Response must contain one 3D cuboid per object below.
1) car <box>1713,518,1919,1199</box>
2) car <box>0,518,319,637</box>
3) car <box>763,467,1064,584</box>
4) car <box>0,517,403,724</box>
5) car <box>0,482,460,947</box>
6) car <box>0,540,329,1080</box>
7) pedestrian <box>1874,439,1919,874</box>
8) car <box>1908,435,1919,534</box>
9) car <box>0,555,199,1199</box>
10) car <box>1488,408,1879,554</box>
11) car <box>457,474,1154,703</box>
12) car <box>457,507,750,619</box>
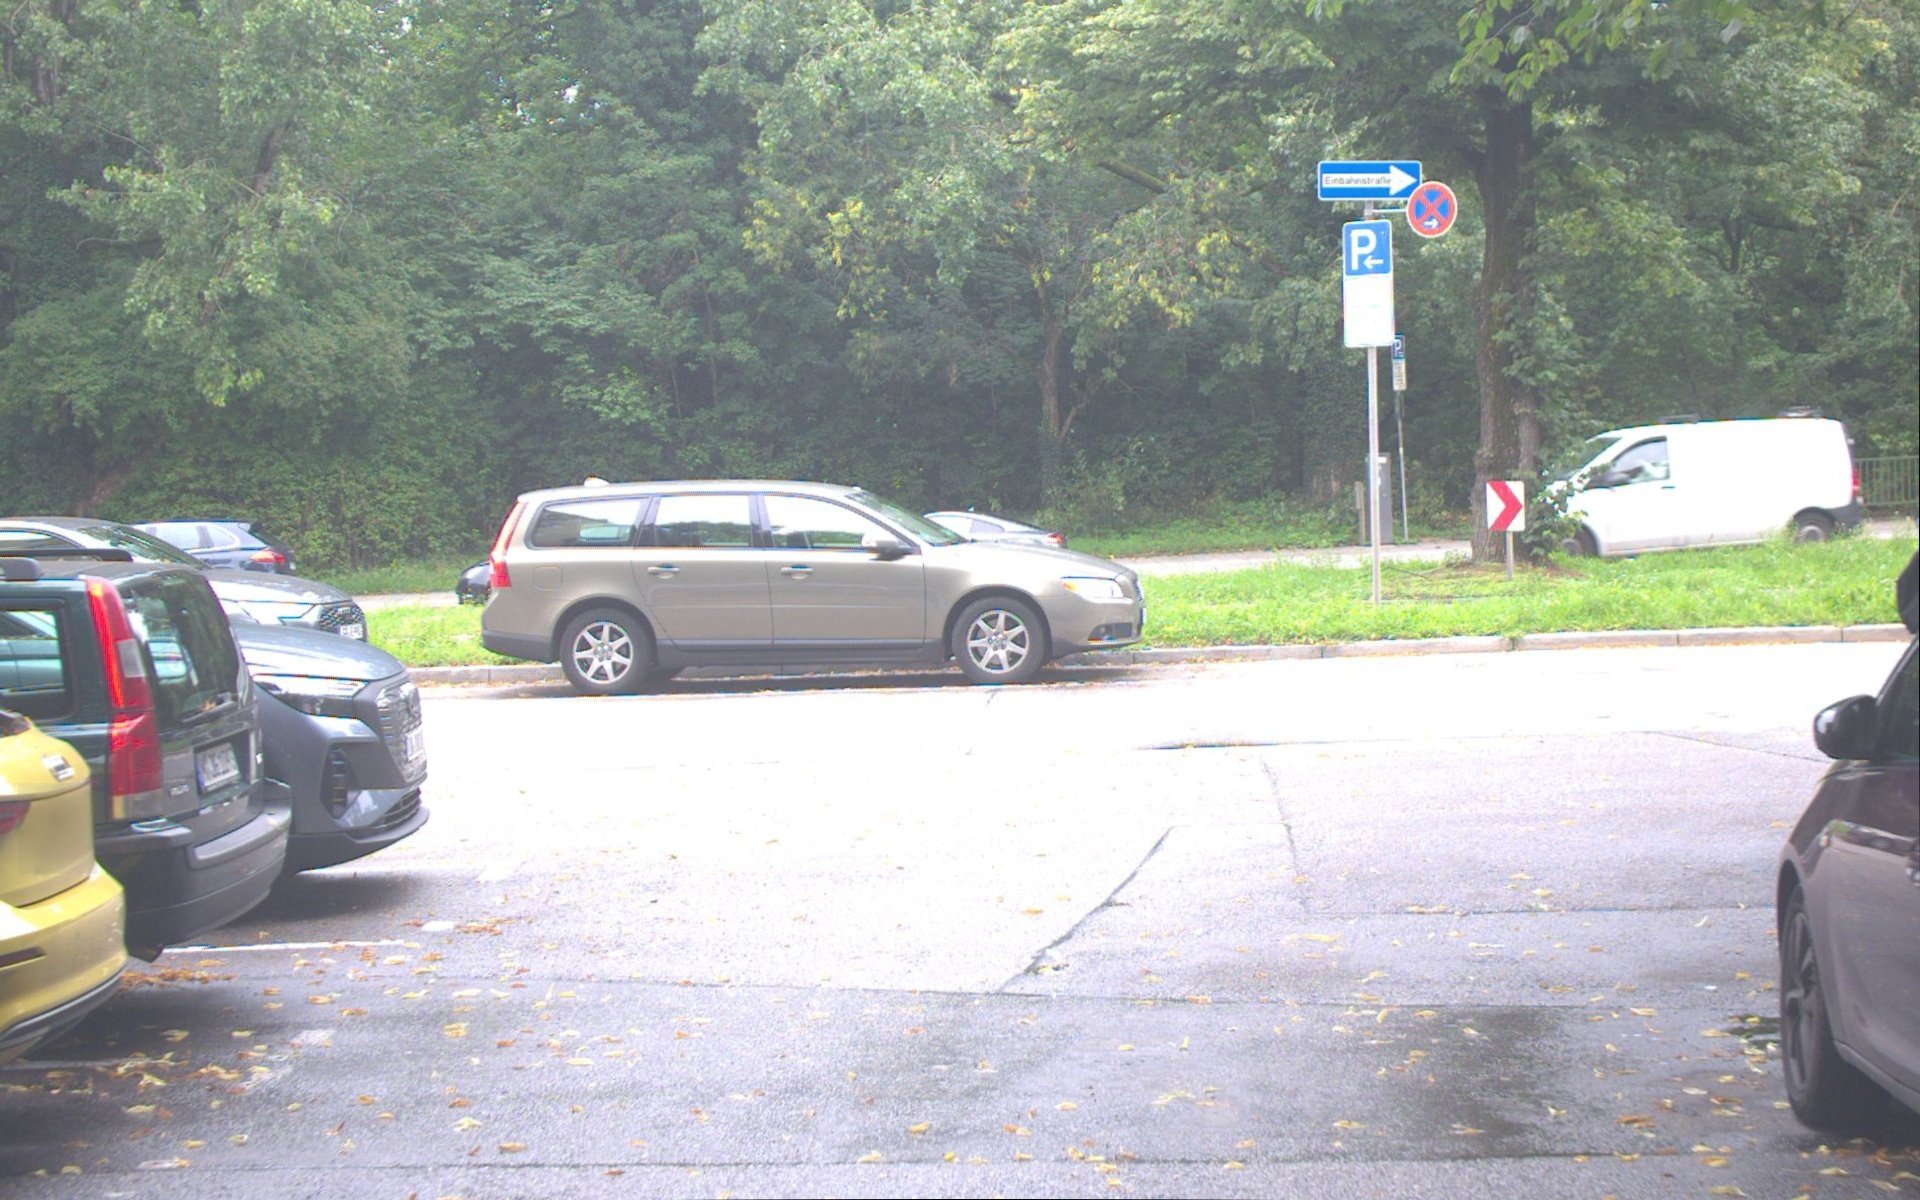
[{"bbox_3d":[2.734,0.572,7.281,1.648,1.469,3.643,-2,2,3],"label":"car"},{"bbox_3d":[-12.108,-0.359,52.091,4.434,1.573,1.932,-2,2,-3],"label":"car"},{"bbox_3d":[-0.706,-1.138,52.305,4.434,1.573,1.932,-2,2,-1],"label":"car"},{"bbox_3d":[-6.554,0.165,25.627,4.349,1.375,1.769,-2,2,9],"label":"car"},{"bbox_3d":[-4.212,0.457,13.465,4.162,1.595,1.736,-3,3,1],"label":"car"},{"bbox_3d":[-4.148,0.663,10.638,3.987,1.459,1.736,-3,2,1],"label":"car"},{"bbox_3d":[3.996,0.190,13.206,0.779,1.612,0.761,-1,4,4],"label":"pedestrian"},{"bbox_3d":[17.627,-1.910,53.652,5.028,1.560,2.001,-3,2,-7],"label":"car"},{"bbox_3d":[-4.034,0.715,8.438,3.879,1.436,1.741,-3,2,0],"label":"car"},{"bbox_3d":[9.270,-1.529,44.263,4.504,1.662,1.932,-2,2,-4],"label":"car"},{"bbox_3d":[-1.058,-0.105,25.037,4.802,1.490,1.842,-1,2,6],"label":"car"},{"bbox_3d":[-5.384,-0.573,52.365,4.233,1.489,2.000,-2,2,-1],"label":"car"}]
